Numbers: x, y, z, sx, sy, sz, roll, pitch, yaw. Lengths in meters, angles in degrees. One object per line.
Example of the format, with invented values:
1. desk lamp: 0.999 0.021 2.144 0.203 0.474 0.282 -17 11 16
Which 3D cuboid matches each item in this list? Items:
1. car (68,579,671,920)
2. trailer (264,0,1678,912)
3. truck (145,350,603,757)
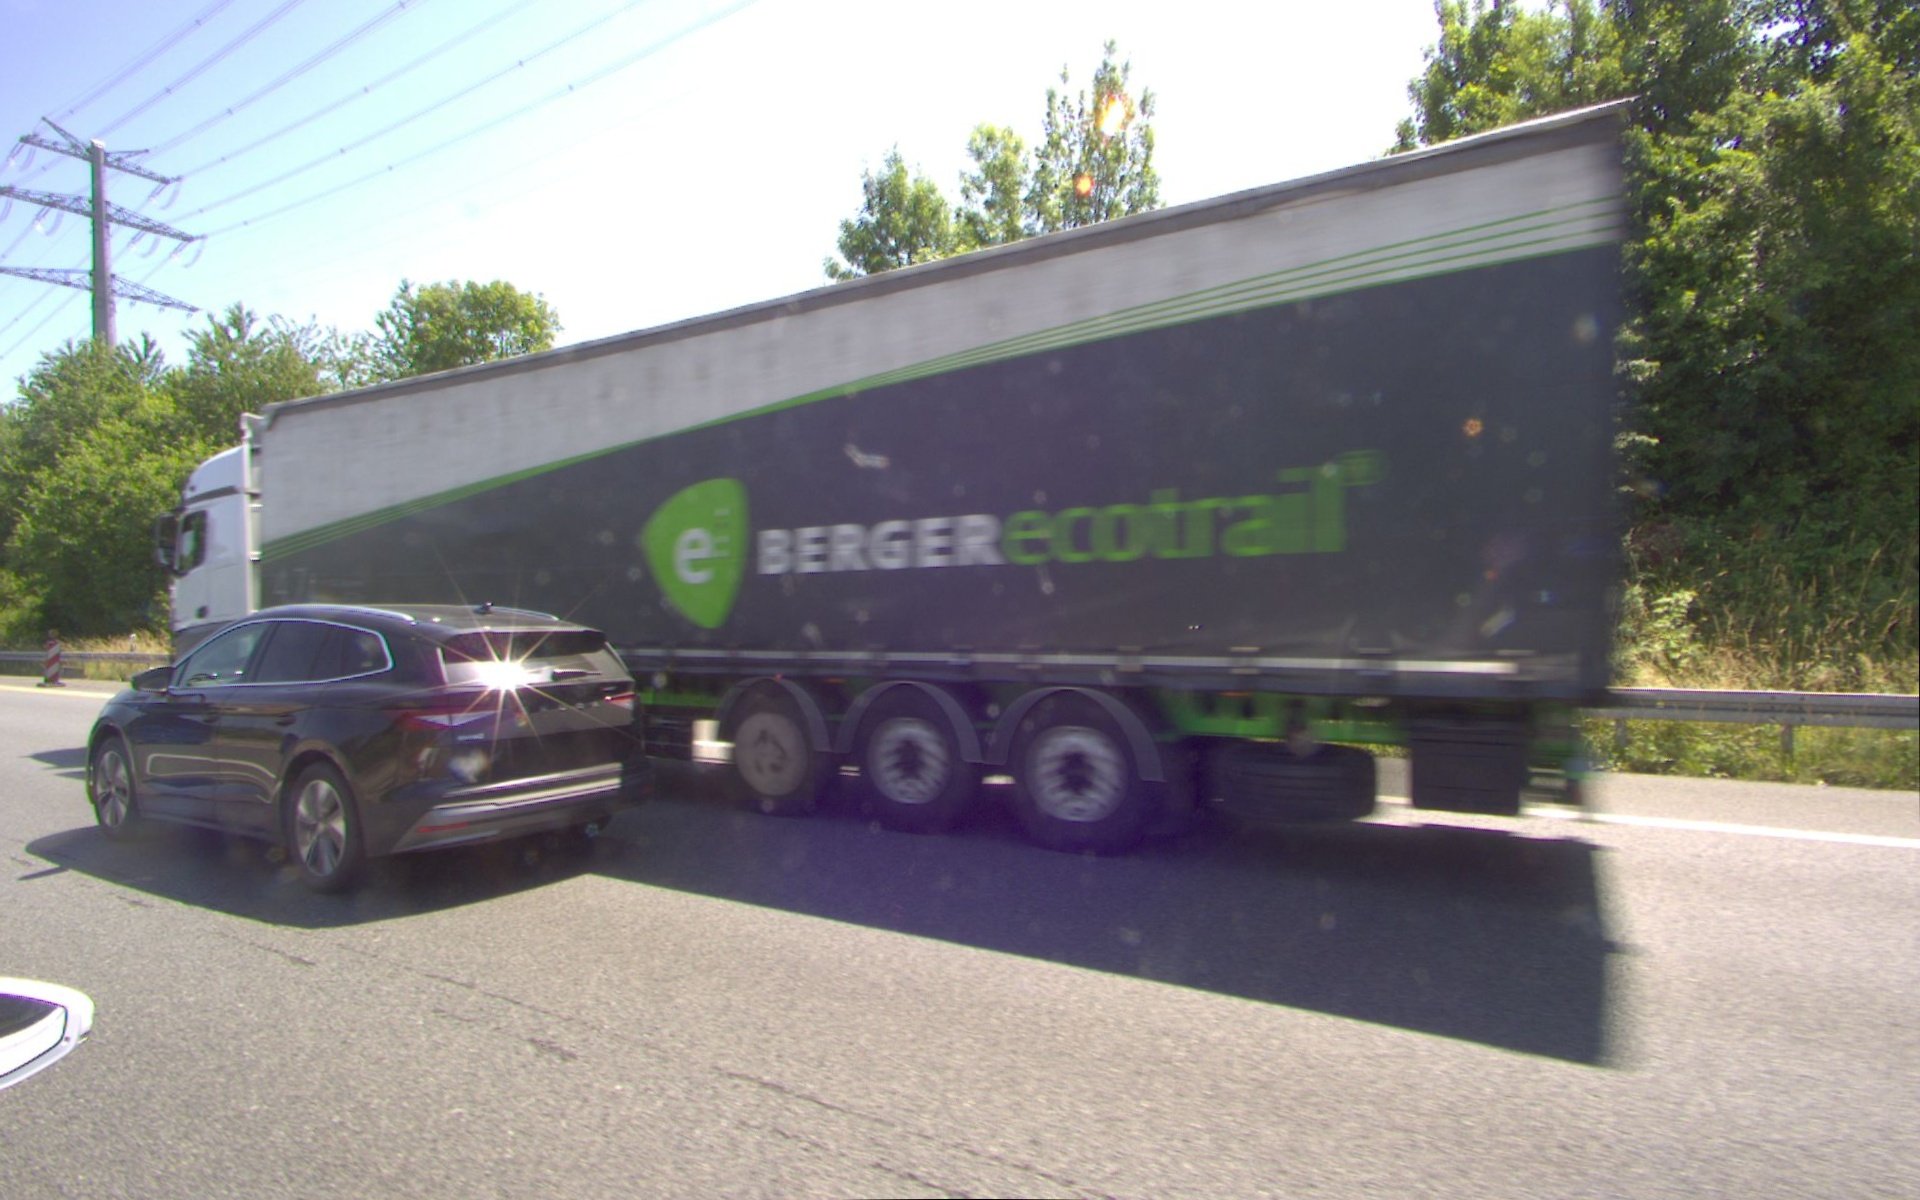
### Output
1. car: -4.141 0.807 6.818 4.365 1.676 1.698 -1 -2 31
2. trailer: -1.646 -0.538 8.987 12.926 4.099 2.778 -1 -2 33
3. truck: -7.551 -0.374 12.759 5.711 4.099 2.728 -1 -2 32
